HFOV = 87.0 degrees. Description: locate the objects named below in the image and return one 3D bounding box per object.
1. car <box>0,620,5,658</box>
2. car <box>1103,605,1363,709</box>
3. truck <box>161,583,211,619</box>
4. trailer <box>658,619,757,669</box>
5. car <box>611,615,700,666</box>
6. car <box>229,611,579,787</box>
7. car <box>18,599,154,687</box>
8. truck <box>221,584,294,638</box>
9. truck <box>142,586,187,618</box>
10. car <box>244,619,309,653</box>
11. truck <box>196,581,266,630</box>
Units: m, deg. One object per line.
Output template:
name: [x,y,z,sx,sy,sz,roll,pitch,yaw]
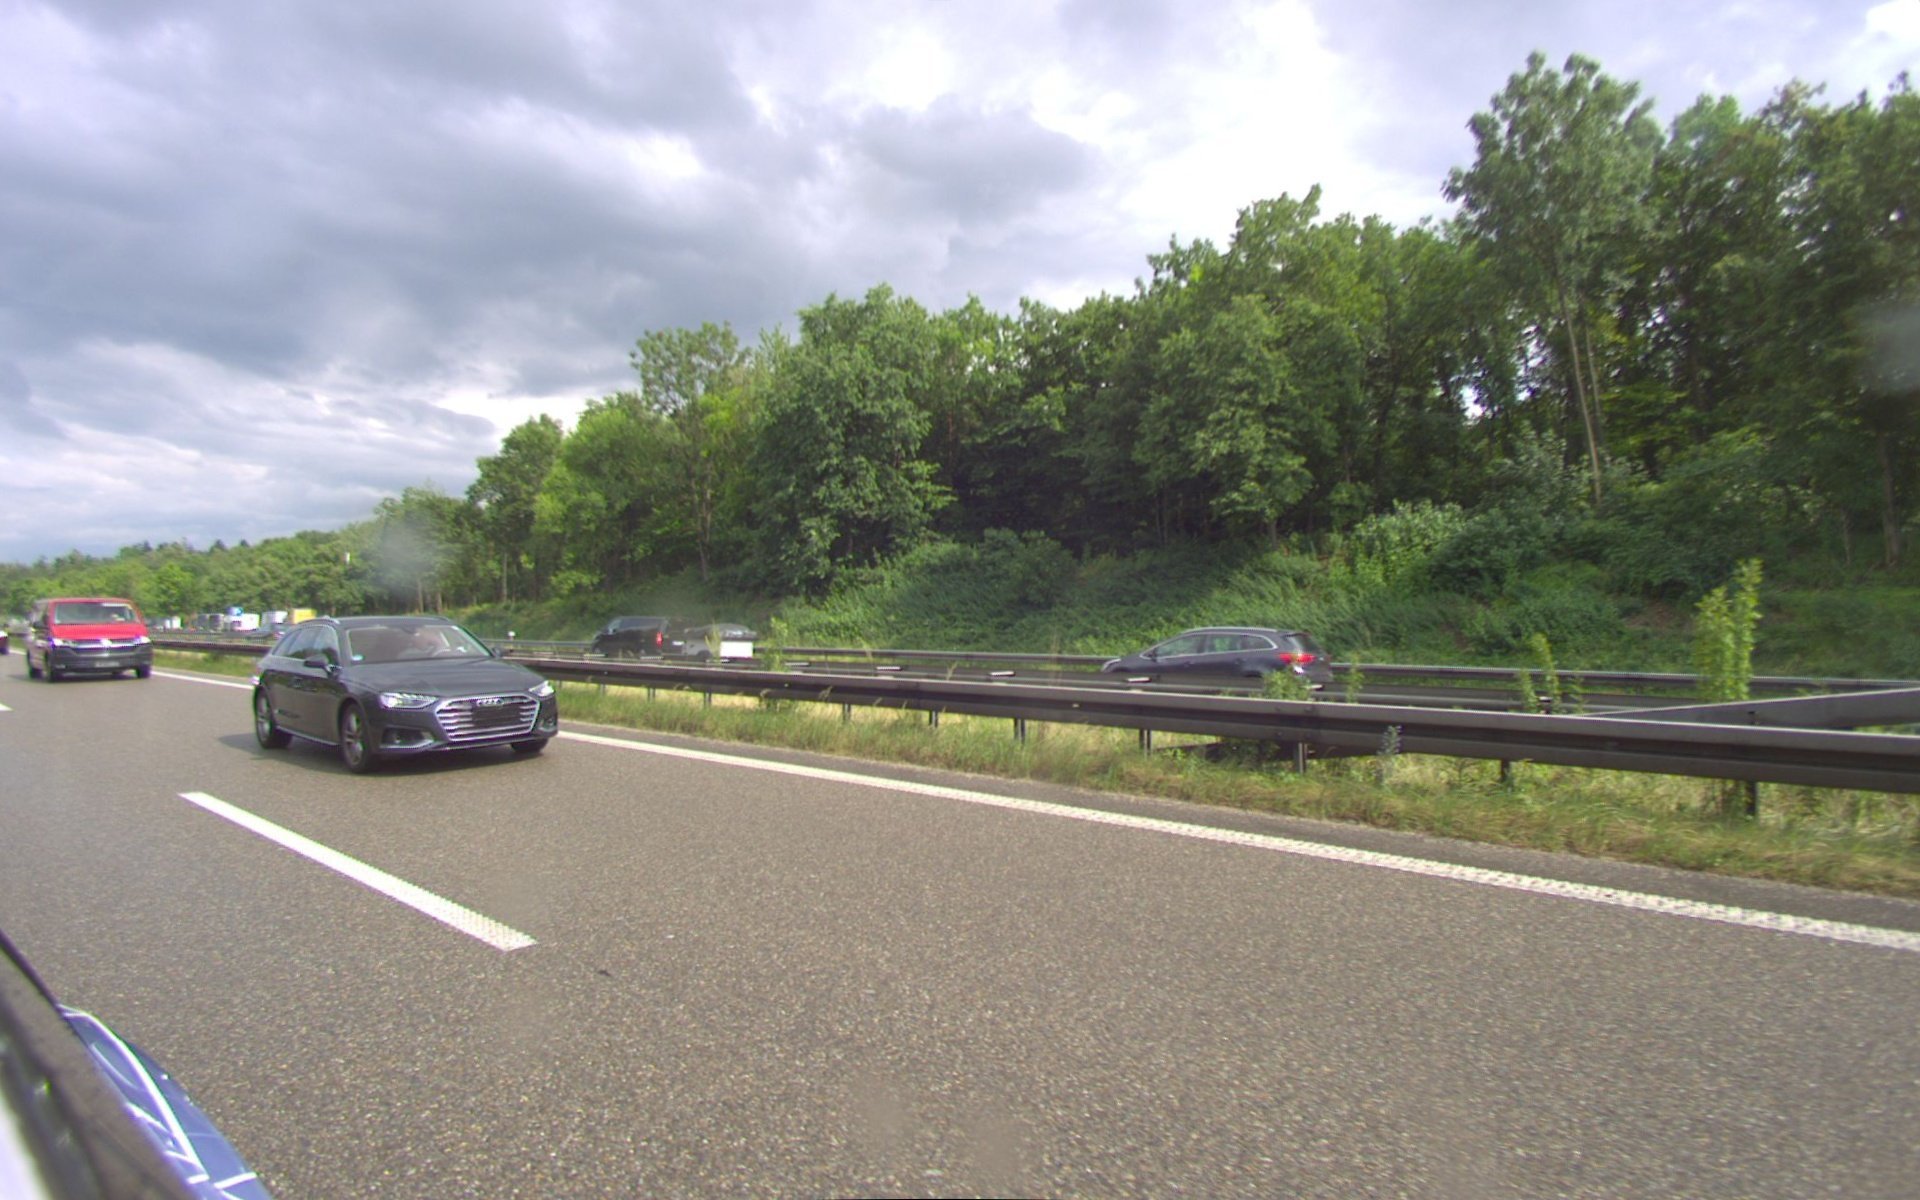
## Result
car: [-40.100,1.577,40.790,4.838,1.508,1.982,-1,0,42]
car: [4.926,0.955,18.590,4.234,1.675,1.835,-1,0,41]
truck: [-106.515,0.165,139.149,11.874,4.756,3.574,-1,0,43]
trailer: [-9.181,1.532,36.644,3.877,1.675,1.568,-1,0,41]
car: [-11.718,1.506,38.884,3.681,1.841,1.568,-1,0,41]
car: [-6.049,0.854,10.704,4.838,1.429,1.775,-1,0,42]
car: [-21.077,0.960,24.328,4.838,1.880,1.901,-1,0,42]
truck: [-64.990,0.986,93.517,9.802,4.756,3.574,-1,0,43]
truck: [-119.430,0.332,151.808,11.874,4.756,3.574,-1,0,43]
car: [-36.291,1.886,53.680,4.234,1.675,1.835,-1,0,41]
truck: [-74.097,0.595,102.733,11.874,4.756,3.574,-1,0,43]
